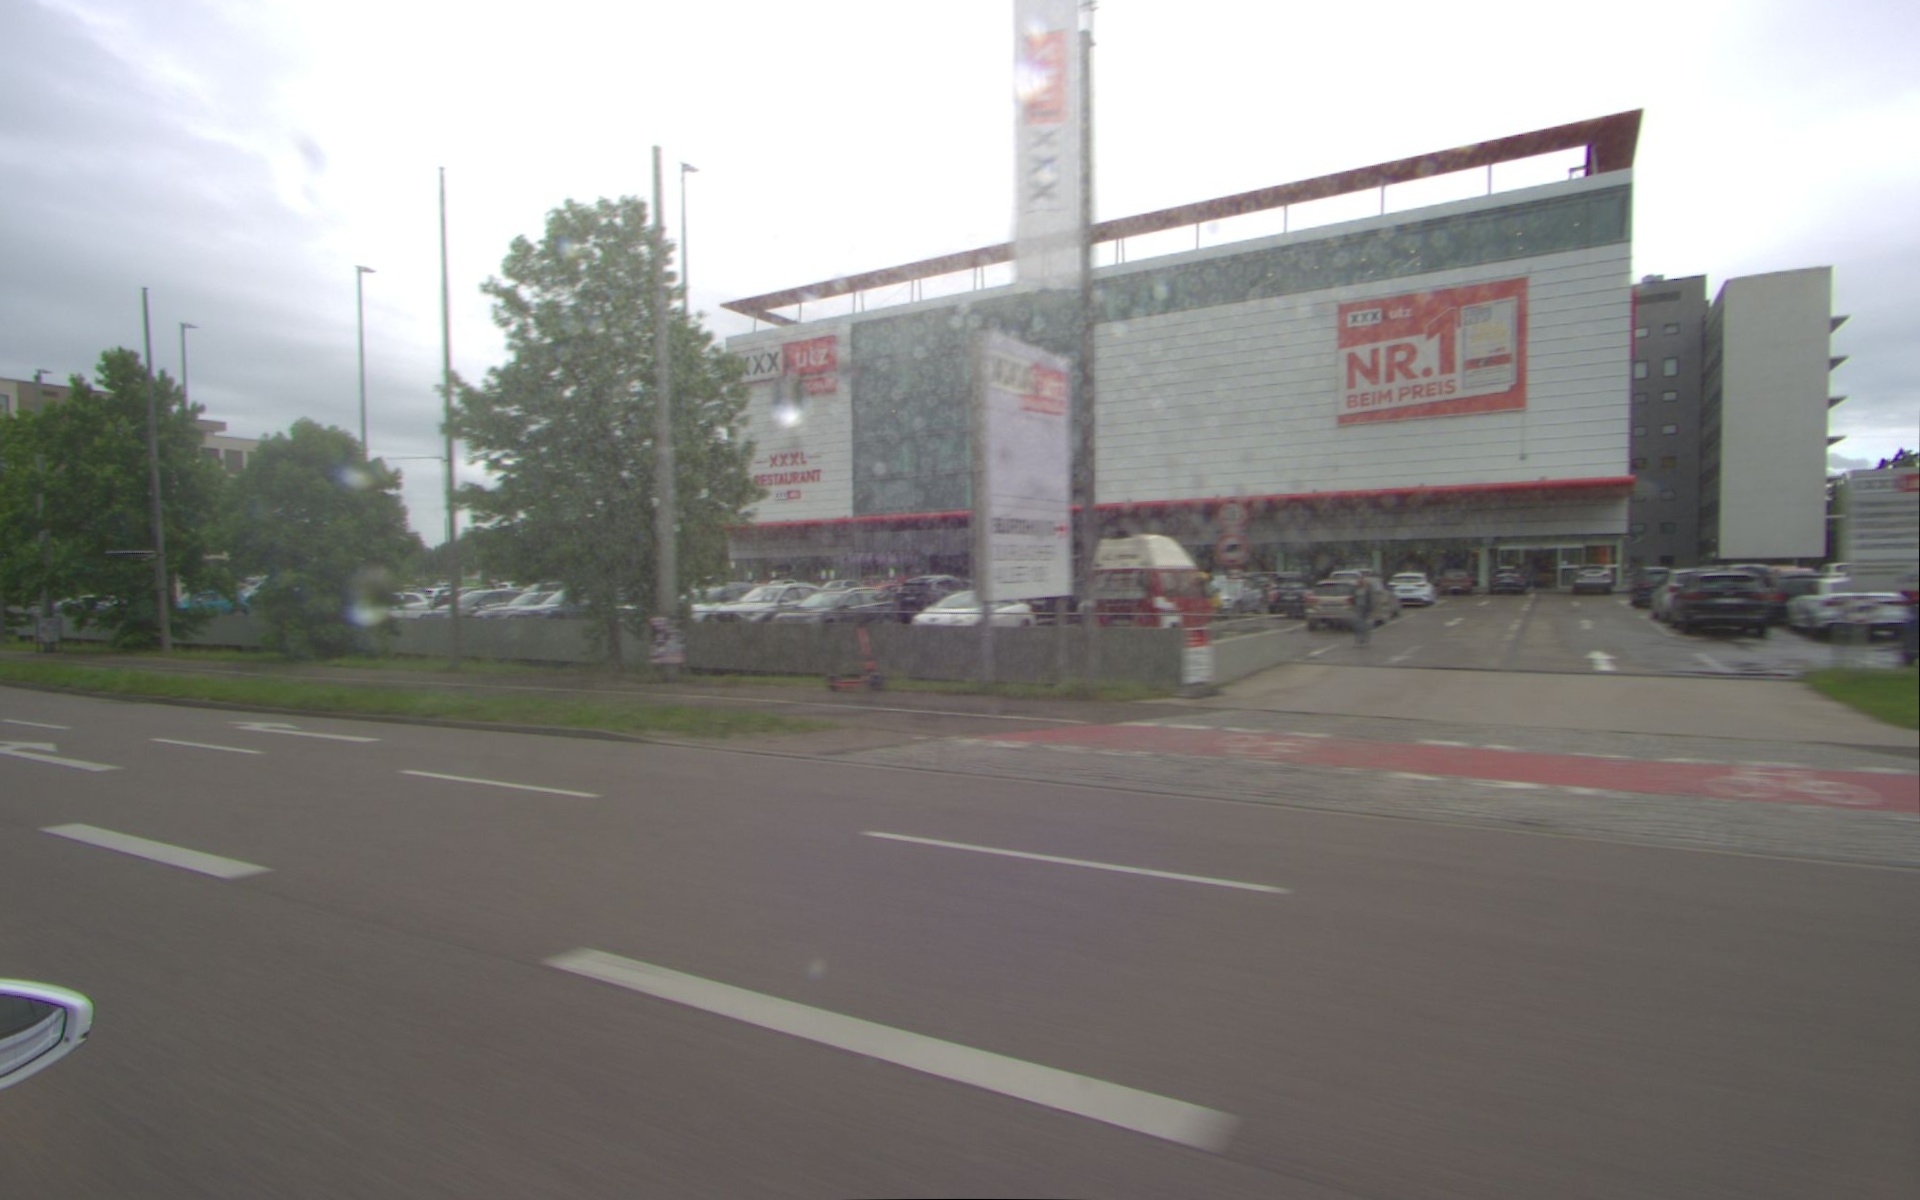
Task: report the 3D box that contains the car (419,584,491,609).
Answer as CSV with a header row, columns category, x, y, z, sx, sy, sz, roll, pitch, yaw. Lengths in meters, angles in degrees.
category,x,y,z,sx,sy,sz,roll,pitch,yaw
car,-32.993,-0.233,65.479,1.759,1.528,3.832,1,2,34

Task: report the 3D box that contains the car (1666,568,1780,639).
category,x,y,z,sx,sy,sz,roll,pitch,yaw
car,19.800,0.028,26.141,1.804,1.677,3.884,1,3,30

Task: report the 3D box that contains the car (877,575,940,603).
category,x,y,z,sx,sy,sz,roll,pitch,yaw
car,-2.994,-0.671,58.717,1.719,1.575,3.780,2,2,36

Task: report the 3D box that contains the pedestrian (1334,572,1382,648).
category,x,y,z,sx,sy,sz,roll,pitch,yaw
pedestrian,9.458,0.227,23.785,0.872,1.743,0.938,2,2,30

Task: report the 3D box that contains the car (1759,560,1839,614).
category,x,y,z,sx,sy,sz,roll,pitch,yaw
car,33.735,-0.500,40.371,1.972,2.040,3.978,-1,0,33

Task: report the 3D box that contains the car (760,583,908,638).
category,x,y,z,sx,sy,sz,roll,pitch,yaw
car,-3.580,0.256,29.221,1.840,1.438,4.455,2,2,33

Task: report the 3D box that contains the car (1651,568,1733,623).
category,x,y,z,sx,sy,sz,roll,pitch,yaw
car,22.671,-0.152,31.134,1.668,1.602,3.887,0,1,31

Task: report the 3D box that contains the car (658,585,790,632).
category,x,y,z,sx,sy,sz,roll,pitch,yaw
car,-7.405,0.220,31.827,1.807,1.369,4.047,2,2,30

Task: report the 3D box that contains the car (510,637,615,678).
category,x,y,z,sx,sy,sz,roll,pitch,yaw
car,-17.355,2.475,43.873,1.738,1.572,4.047,0,0,31

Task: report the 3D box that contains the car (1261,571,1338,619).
category,x,y,z,sx,sy,sz,roll,pitch,yaw
car,12.579,-0.164,37.008,1.762,1.656,3.977,-1,0,33

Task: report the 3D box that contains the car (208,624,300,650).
category,x,y,z,sx,sy,sz,roll,pitch,yaw
car,-41.272,2.160,58.591,1.738,1.368,4.045,-1,0,32

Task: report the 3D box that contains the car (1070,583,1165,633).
category,x,y,z,sx,sy,sz,roll,pitch,yaw
car,5.600,0.241,35.177,1.852,1.618,3.978,2,2,32

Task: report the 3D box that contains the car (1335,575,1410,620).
category,x,y,z,sx,sy,sz,roll,pitch,yaw
car,14.890,-0.093,36.063,1.714,1.489,4.229,2,1,33

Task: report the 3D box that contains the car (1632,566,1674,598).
category,x,y,z,sx,sy,sz,roll,pitch,yaw
car,35.904,-0.962,51.944,1.627,1.582,3.594,1,3,33

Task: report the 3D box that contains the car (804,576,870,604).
category,x,y,z,sx,sy,sz,roll,pitch,yaw
car,-7.469,-0.614,61.081,1.836,1.607,4.280,2,2,28

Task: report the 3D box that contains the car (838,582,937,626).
category,x,y,z,sx,sy,sz,roll,pitch,yaw
car,-2.861,0.146,40.276,1.808,1.686,4.161,0,0,34

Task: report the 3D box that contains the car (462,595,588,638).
category,x,y,z,sx,sy,sz,roll,pitch,yaw
car,-15.981,0.559,36.949,1.737,1.418,4.047,2,2,30

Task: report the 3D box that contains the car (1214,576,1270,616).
category,x,y,z,sx,sy,sz,roll,pitch,yaw
car,13.606,-0.181,48.198,1.812,1.864,3.983,-1,0,28

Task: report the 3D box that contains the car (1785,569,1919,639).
category,x,y,z,sx,sy,sz,roll,pitch,yaw
car,21.902,0.087,24.736,1.837,1.572,3.978,-1,0,32

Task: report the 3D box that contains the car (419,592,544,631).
category,x,y,z,sx,sy,sz,roll,pitch,yaw
car,-18.147,0.400,38.126,1.737,1.369,4.047,2,2,30

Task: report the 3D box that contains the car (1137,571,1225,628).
category,x,y,z,sx,sy,sz,roll,pitch,yaw
car,7.509,-0.038,33.799,1.708,1.792,3.727,2,2,33

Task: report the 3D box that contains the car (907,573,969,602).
category,x,y,z,sx,sy,sz,roll,pitch,yaw
car,-1.229,-0.711,57.318,1.717,1.608,3.557,-1,0,36

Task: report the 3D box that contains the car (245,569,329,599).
category,x,y,z,sx,sy,sz,roll,pitch,yaw
car,-52.073,-1.218,77.564,2.136,2.241,4.995,2,2,36

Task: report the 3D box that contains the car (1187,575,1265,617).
category,x,y,z,sx,sy,sz,roll,pitch,yaw
car,10.228,-0.137,38.328,1.762,1.514,3.977,-1,0,33

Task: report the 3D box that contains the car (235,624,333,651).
category,x,y,z,sx,sy,sz,roll,pitch,yaw
car,-31.696,1.726,47.052,1.494,1.146,3.507,-1,0,32

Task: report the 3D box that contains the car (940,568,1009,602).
category,x,y,z,sx,sy,sz,roll,pitch,yaw
car,0.846,-0.795,55.609,1.870,1.773,3.974,-1,0,36

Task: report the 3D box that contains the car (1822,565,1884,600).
category,x,y,z,sx,sy,sz,roll,pitch,yaw
car,43.013,-0.863,48.308,1.627,1.582,3.594,1,3,33

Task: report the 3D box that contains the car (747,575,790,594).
category,x,y,z,sx,sy,sz,roll,pitch,yaw
car,-16.088,-1.278,84.209,1.682,1.518,3.630,2,2,26

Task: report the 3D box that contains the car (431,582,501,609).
category,x,y,z,sx,sy,sz,roll,pitch,yaw
car,-31.102,-0.302,63.065,1.678,1.655,3.620,2,2,36

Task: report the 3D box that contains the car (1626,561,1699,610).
category,x,y,z,sx,sy,sz,roll,pitch,yaw
car,27.428,-0.620,39.214,1.826,1.800,4.177,1,2,29

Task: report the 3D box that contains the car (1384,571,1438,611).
category,x,y,z,sx,sy,sz,roll,pitch,yaw
car,19.917,-0.391,44.150,1.807,1.677,3.981,-1,0,30

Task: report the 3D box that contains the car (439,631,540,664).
category,x,y,z,sx,sy,sz,roll,pitch,yaw
car,-22.117,2.194,47.216,1.737,1.368,4.048,-1,0,30

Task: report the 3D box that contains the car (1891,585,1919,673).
category,x,y,z,sx,sy,sz,roll,pitch,yaw
car,16.875,0.473,16.298,1.789,1.474,3.978,-1,0,32

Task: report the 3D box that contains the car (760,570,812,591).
category,x,y,z,sx,sy,sz,roll,pitch,yaw
car,-12.351,-1.374,71.155,1.678,1.395,3.584,2,2,34

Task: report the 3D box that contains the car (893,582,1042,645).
category,x,y,z,sx,sy,sz,roll,pitch,yaw
car,0.293,0.294,26.602,1.932,1.481,4.364,2,2,33

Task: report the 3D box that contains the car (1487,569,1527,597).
category,x,y,z,sx,sy,sz,roll,pitch,yaw
car,30.420,-0.940,55.678,1.698,1.497,3.520,2,2,32

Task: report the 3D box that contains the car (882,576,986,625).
category,x,y,z,sx,sy,sz,roll,pitch,yaw
car,-0.956,-0.011,38.712,1.862,1.767,4.300,2,1,34

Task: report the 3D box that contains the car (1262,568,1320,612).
category,x,y,z,sx,sy,sz,roll,pitch,yaw
car,15.603,-0.454,47.095,1.905,1.951,3.982,-1,0,29

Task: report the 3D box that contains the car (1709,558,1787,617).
category,x,y,z,sx,sy,sz,roll,pitch,yaw
car,29.860,-0.447,38.062,1.856,2.075,3.979,-1,0,32

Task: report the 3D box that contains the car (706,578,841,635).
category,x,y,z,sx,sy,sz,roll,pitch,yaw
car,-5.571,0.156,30.325,1.738,1.562,4.044,2,2,33

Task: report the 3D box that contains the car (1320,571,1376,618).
category,x,y,z,sx,sy,sz,roll,pitch,yaw
car,17.818,-0.267,45.899,1.884,2.084,3.982,1,1,29

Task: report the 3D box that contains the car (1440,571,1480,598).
category,x,y,z,sx,sy,sz,roll,pitch,yaw
car,28.560,-0.879,57.159,1.698,1.497,3.520,2,2,32

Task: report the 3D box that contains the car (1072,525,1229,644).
category,x,y,z,sx,sy,sz,roll,pitch,yaw
car,4.777,-0.381,24.552,2.139,2.614,4.711,2,2,33

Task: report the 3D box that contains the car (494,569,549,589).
category,x,y,z,sx,sy,sz,roll,pitch,yaw
car,-33.997,-1.592,77.721,1.678,1.516,3.620,2,2,36

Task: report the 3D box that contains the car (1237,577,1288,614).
category,x,y,z,sx,sy,sz,roll,pitch,yaw
car,16.026,-0.226,53.000,1.813,1.894,3.983,-1,0,29

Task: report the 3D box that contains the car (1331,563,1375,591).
category,x,y,z,sx,sy,sz,roll,pitch,yaw
car,23.053,-1.320,58.720,1.803,1.575,3.786,2,2,31

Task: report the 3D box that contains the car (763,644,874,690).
category,x,y,z,sx,sy,sz,roll,pitch,yaw
car,-5.016,2.369,35.983,1.739,1.368,4.045,-1,0,33

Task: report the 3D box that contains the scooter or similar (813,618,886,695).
category,x,y,z,sx,sy,sz,roll,pitch,yaw
scooter or similar,-1.830,0.915,16.578,1.230,1.207,0.369,0,2,32

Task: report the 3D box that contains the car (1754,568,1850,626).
category,x,y,z,sx,sy,sz,roll,pitch,yaw
car,24.159,-0.078,28.842,1.633,1.576,3.658,-1,0,32

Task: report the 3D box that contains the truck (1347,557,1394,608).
category,x,y,z,sx,sy,sz,roll,pitch,yaw
truck,20.314,-0.823,49.478,1.714,2.418,3.563,0,0,30

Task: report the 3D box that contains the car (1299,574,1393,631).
category,x,y,z,sx,sy,sz,roll,pitch,yaw
car,11.929,0.059,30.780,1.808,1.605,4.401,2,1,33

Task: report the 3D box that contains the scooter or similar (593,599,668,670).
category,x,y,z,sx,sy,sz,roll,pitch,yaw
scooter or similar,-7.053,0.722,21.411,1.798,1.440,0.647,-1,1,41

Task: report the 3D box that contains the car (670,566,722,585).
category,x,y,z,sx,sy,sz,roll,pitch,yaw
car,-17.442,-1.609,66.197,1.441,1.246,3.246,2,2,32

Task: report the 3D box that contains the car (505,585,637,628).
category,x,y,z,sx,sy,sz,roll,pitch,yaw
car,-13.588,0.191,35.200,1.782,1.369,4.145,2,2,30

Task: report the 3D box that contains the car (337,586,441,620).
category,x,y,z,sx,sy,sz,roll,pitch,yaw
car,-23.954,0.097,42.098,1.580,1.326,3.511,2,2,26

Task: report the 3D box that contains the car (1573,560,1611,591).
category,x,y,z,sx,sy,sz,roll,pitch,yaw
car,33.995,-1.335,53.874,1.627,1.582,3.594,1,3,33

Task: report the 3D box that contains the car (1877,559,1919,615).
category,x,y,z,sx,sy,sz,roll,pitch,yaw
car,34.039,-0.464,35.296,1.807,1.886,3.978,-1,0,32

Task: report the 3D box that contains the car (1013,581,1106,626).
category,x,y,z,sx,sy,sz,roll,pitch,yaw
car,3.656,0.123,36.279,1.861,1.554,3.980,0,0,31

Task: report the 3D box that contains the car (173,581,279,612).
category,x,y,z,sx,sy,sz,roll,pitch,yaw
car,-38.093,-0.191,52.080,1.784,1.545,4.063,1,1,28
